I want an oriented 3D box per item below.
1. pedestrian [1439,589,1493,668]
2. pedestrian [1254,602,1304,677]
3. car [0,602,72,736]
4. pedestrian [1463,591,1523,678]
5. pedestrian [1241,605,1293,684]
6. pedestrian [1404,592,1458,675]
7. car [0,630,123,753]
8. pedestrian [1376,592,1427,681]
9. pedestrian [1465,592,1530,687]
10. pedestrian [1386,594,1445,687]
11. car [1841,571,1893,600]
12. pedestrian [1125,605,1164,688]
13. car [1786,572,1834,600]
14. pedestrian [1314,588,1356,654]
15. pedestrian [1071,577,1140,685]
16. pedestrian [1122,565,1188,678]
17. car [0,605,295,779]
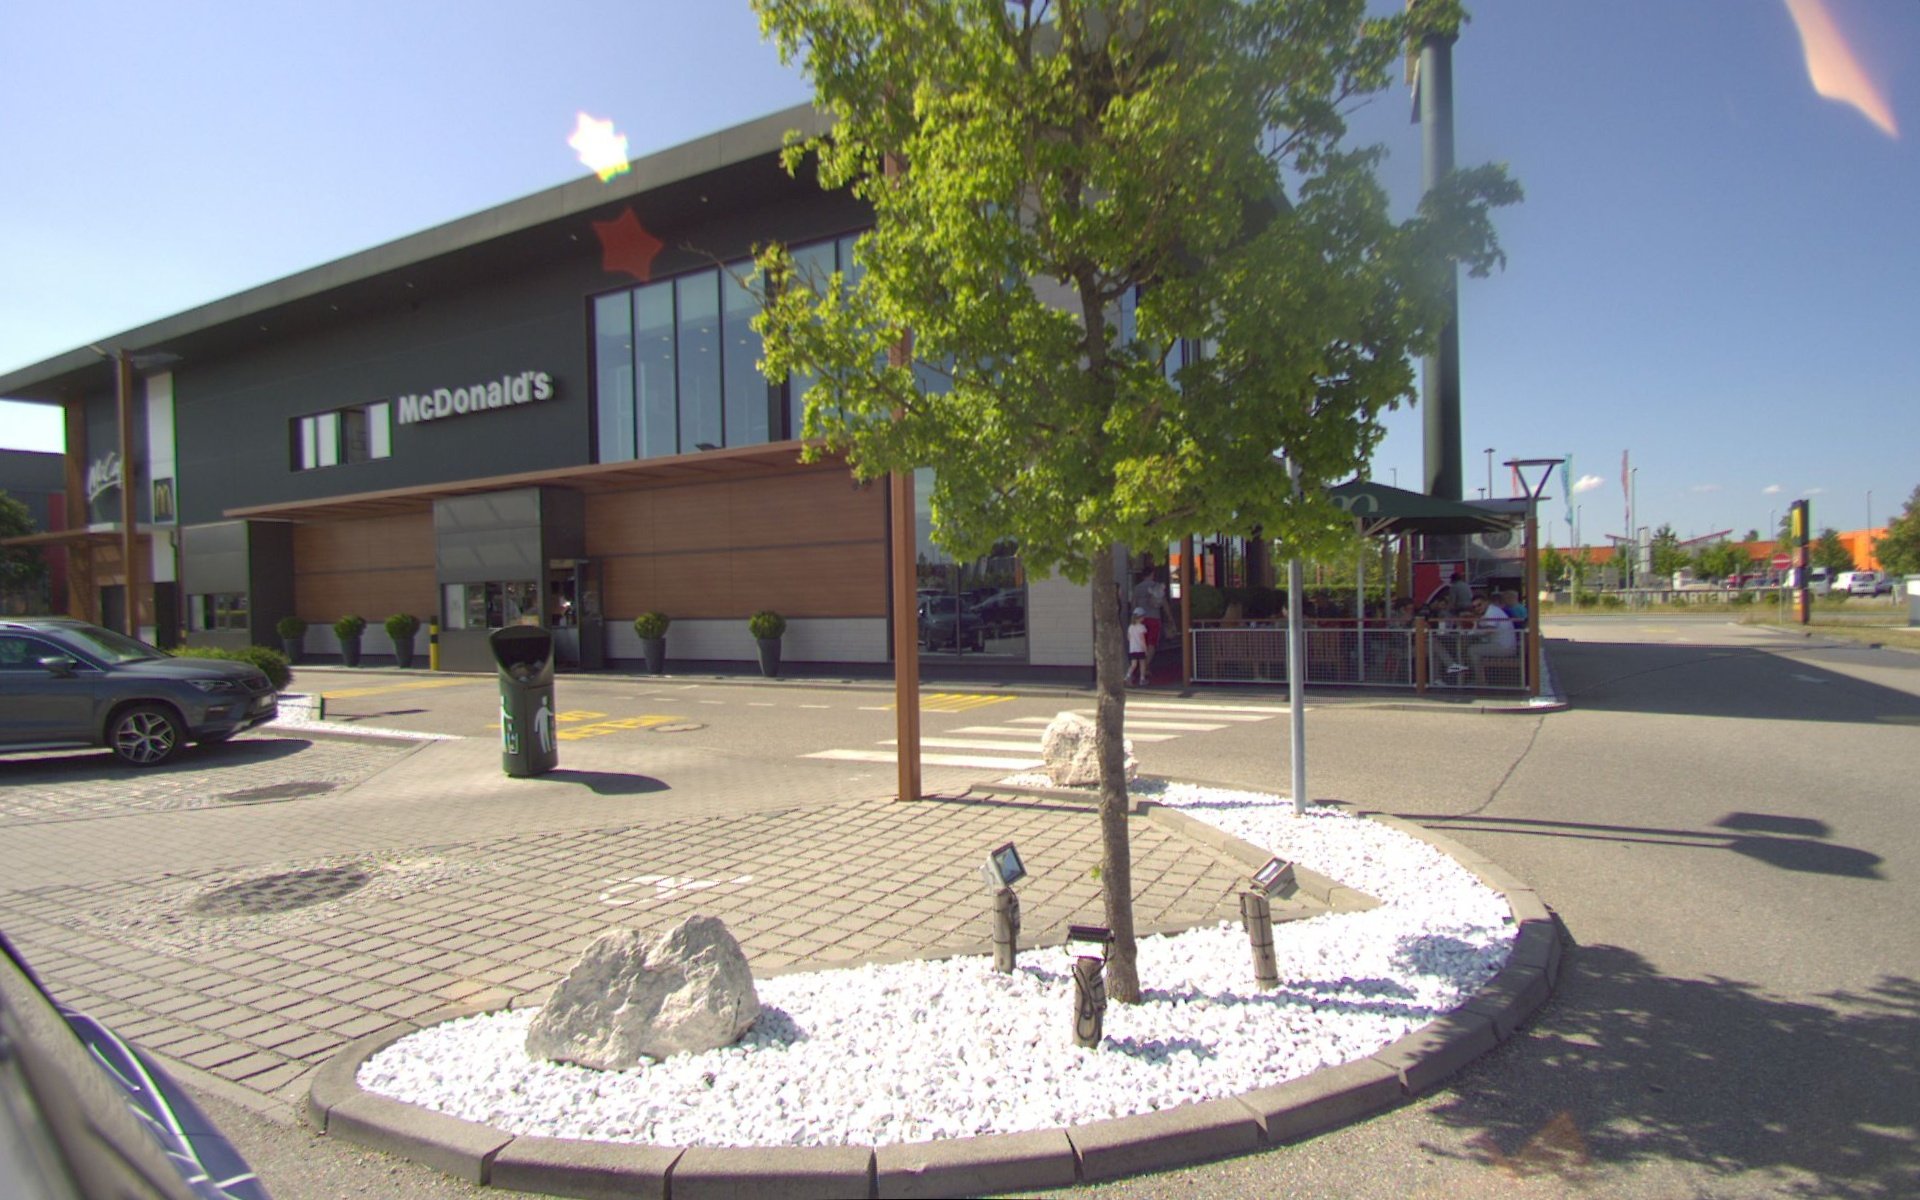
[{"bbox_3d":[8.245,0.461,16.521,0.725,1.267,0.568,-2,-1,25],"label":"pedestrian"},{"bbox_3d":[4.937,0.609,15.654,0.631,1.132,0.519,-2,-1,26],"label":"pedestrian"},{"bbox_3d":[-16.036,1.050,14.909,4.073,1.936,1.764,-1,0,-21],"label":"car"},{"bbox_3d":[7.967,0.505,15.140,0.725,1.267,0.568,-2,-1,25],"label":"pedestrian"},{"bbox_3d":[4.555,0.651,15.014,0.631,1.132,0.519,-2,-1,26],"label":"pedestrian"},{"bbox_3d":[7.329,0.515,15.760,0.712,1.267,0.519,-2,-1,26],"label":"pedestrian"},{"bbox_3d":[-13.224,1.212,13.088,3.356,1.493,1.573,-2,0,-22],"label":"car"},{"bbox_3d":[6.470,0.530,14.820,0.631,1.267,0.519,-2,-1,26],"label":"pedestrian"},{"bbox_3d":[7.387,0.537,13.933,0.725,1.267,0.568,-2,-1,25],"label":"pedestrian"},{"bbox_3d":[6.370,0.557,14.157,0.712,1.267,0.519,-2,-1,26],"label":"pedestrian"},{"bbox_3d":[67.236,-1.050,75.086,1.992,2.029,3.960,-1,0,29],"label":"car"},{"bbox_3d":[2.737,0.684,15.028,0.446,1.195,0.487,-2,-1,24],"label":"pedestrian"},{"bbox_3d":[64.140,-1.014,76.427,1.992,2.029,3.960,-1,0,29],"label":"car"},{"bbox_3d":[6.463,0.352,17.442,0.571,1.109,0.650,-2,-1,28],"label":"pedestrian"},{"bbox_3d":[2.228,0.463,15.486,0.741,1.596,0.719,-2,-1,39],"label":"pedestrian"},{"bbox_3d":[3.171,0.350,16.440,0.890,1.781,0.798,-1,-1,21],"label":"pedestrian"},{"bbox_3d":[-10.132,1.005,11.255,4.156,1.615,1.796,-3,2,-16],"label":"car"}]
